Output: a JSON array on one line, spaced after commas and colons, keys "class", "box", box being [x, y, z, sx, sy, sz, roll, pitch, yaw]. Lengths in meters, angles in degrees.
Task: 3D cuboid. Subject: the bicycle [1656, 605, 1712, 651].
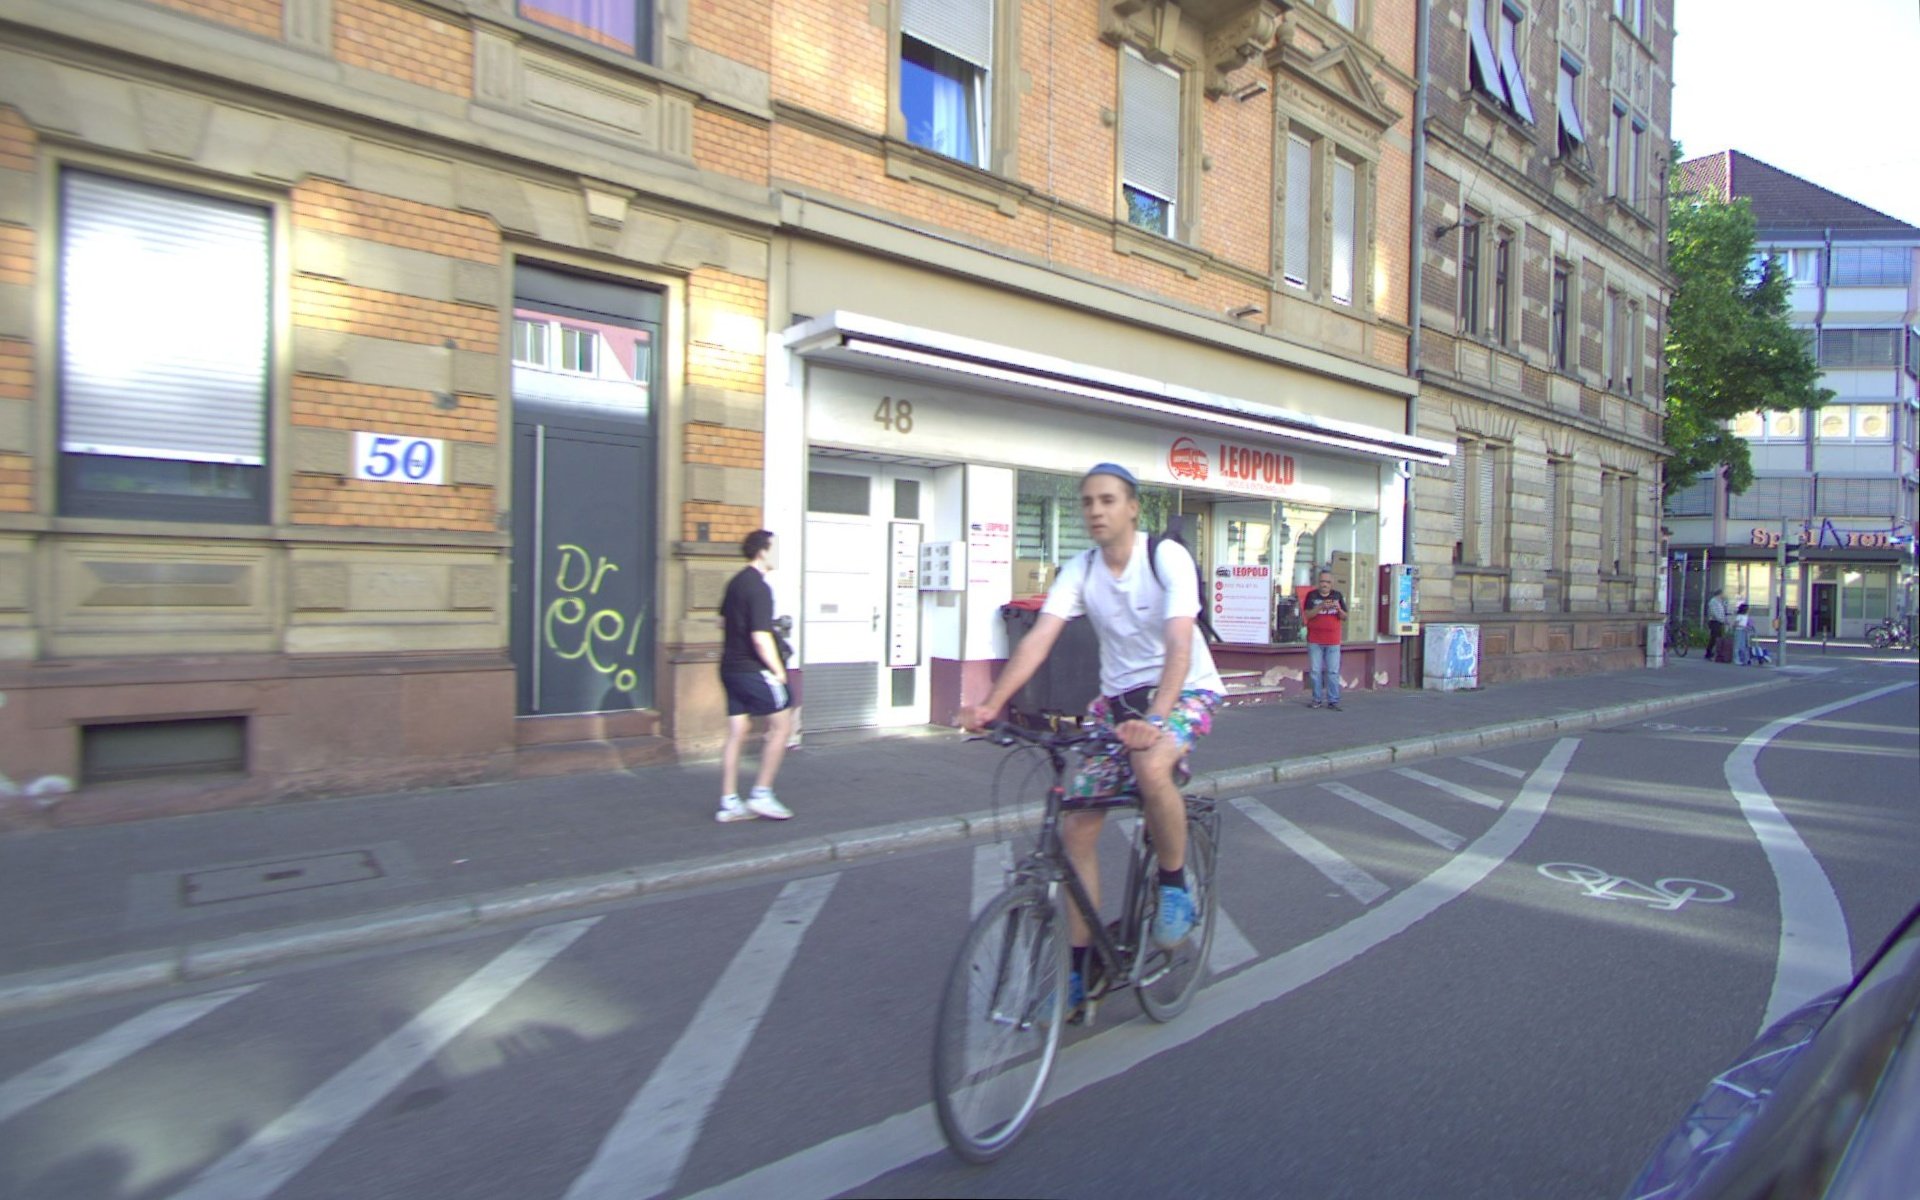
[{"class": "bicycle", "box": [18.948, 0.707, 26.519, 0.437, 1.129, 1.809, 1, 1, 11]}]

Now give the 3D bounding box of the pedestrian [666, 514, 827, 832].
[{"class": "pedestrian", "box": [-1.340, 0.412, 6.338, 0.742, 1.836, 0.674, 0, 1, -40]}]

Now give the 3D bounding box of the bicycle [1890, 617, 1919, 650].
[{"class": "bicycle", "box": [34.352, 1.226, 35.898, 0.554, 1.120, 1.950, 1, 1, -40]}]

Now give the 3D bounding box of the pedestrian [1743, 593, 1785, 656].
[{"class": "pedestrian", "box": [18.814, 0.568, 23.696, 0.573, 1.433, 0.573, 0, -1, 17]}]

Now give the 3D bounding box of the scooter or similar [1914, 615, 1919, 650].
[{"class": "scooter or similar", "box": [35.065, 1.221, 36.031, 0.581, 1.244, 1.483, 1, 3, -38]}]

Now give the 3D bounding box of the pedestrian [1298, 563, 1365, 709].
[{"class": "pedestrian", "box": [4.576, 0.430, 12.489, 0.576, 1.750, 0.471, 2, 0, -2]}]

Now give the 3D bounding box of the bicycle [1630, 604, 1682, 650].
[{"class": "bicycle", "box": [18.556, 0.704, 27.020, 0.437, 1.129, 1.809, 1, 1, 11]}]

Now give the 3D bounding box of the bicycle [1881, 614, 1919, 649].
[{"class": "bicycle", "box": [32.850, 1.091, 34.589, 0.554, 1.120, 1.950, 1, 1, -40]}]

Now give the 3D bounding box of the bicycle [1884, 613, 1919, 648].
[{"class": "bicycle", "box": [33.411, 1.072, 35.085, 0.617, 1.180, 1.950, 1, 1, -40]}]

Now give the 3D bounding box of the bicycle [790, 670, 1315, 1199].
[{"class": "bicycle", "box": [0.452, 0.870, 3.153, 0.646, 1.153, 2.068, 1, 0, 37]}]

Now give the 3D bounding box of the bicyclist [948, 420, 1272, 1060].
[{"class": "bicyclist", "box": [0.504, 0.360, 3.219, 0.653, 1.676, 0.915, 1, 0, 37]}]

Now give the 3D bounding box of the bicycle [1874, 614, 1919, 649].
[{"class": "bicycle", "box": [32.308, 1.072, 34.245, 0.554, 1.120, 1.950, 1, 1, -40]}]

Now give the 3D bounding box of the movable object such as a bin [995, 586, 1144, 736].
[{"class": "movable object such as a bin", "box": [1.088, 0.556, 9.956, 1.276, 1.364, 0.777, 0, 1, -40]}]

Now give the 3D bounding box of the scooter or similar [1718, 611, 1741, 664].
[{"class": "scooter or similar", "box": [20.024, 0.955, 26.332, 0.389, 1.305, 1.503, 2, 1, 35]}]

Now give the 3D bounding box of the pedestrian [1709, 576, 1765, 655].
[{"class": "pedestrian", "box": [18.580, 0.355, 24.213, 0.842, 1.830, 0.868, 2, 0, 27]}]
